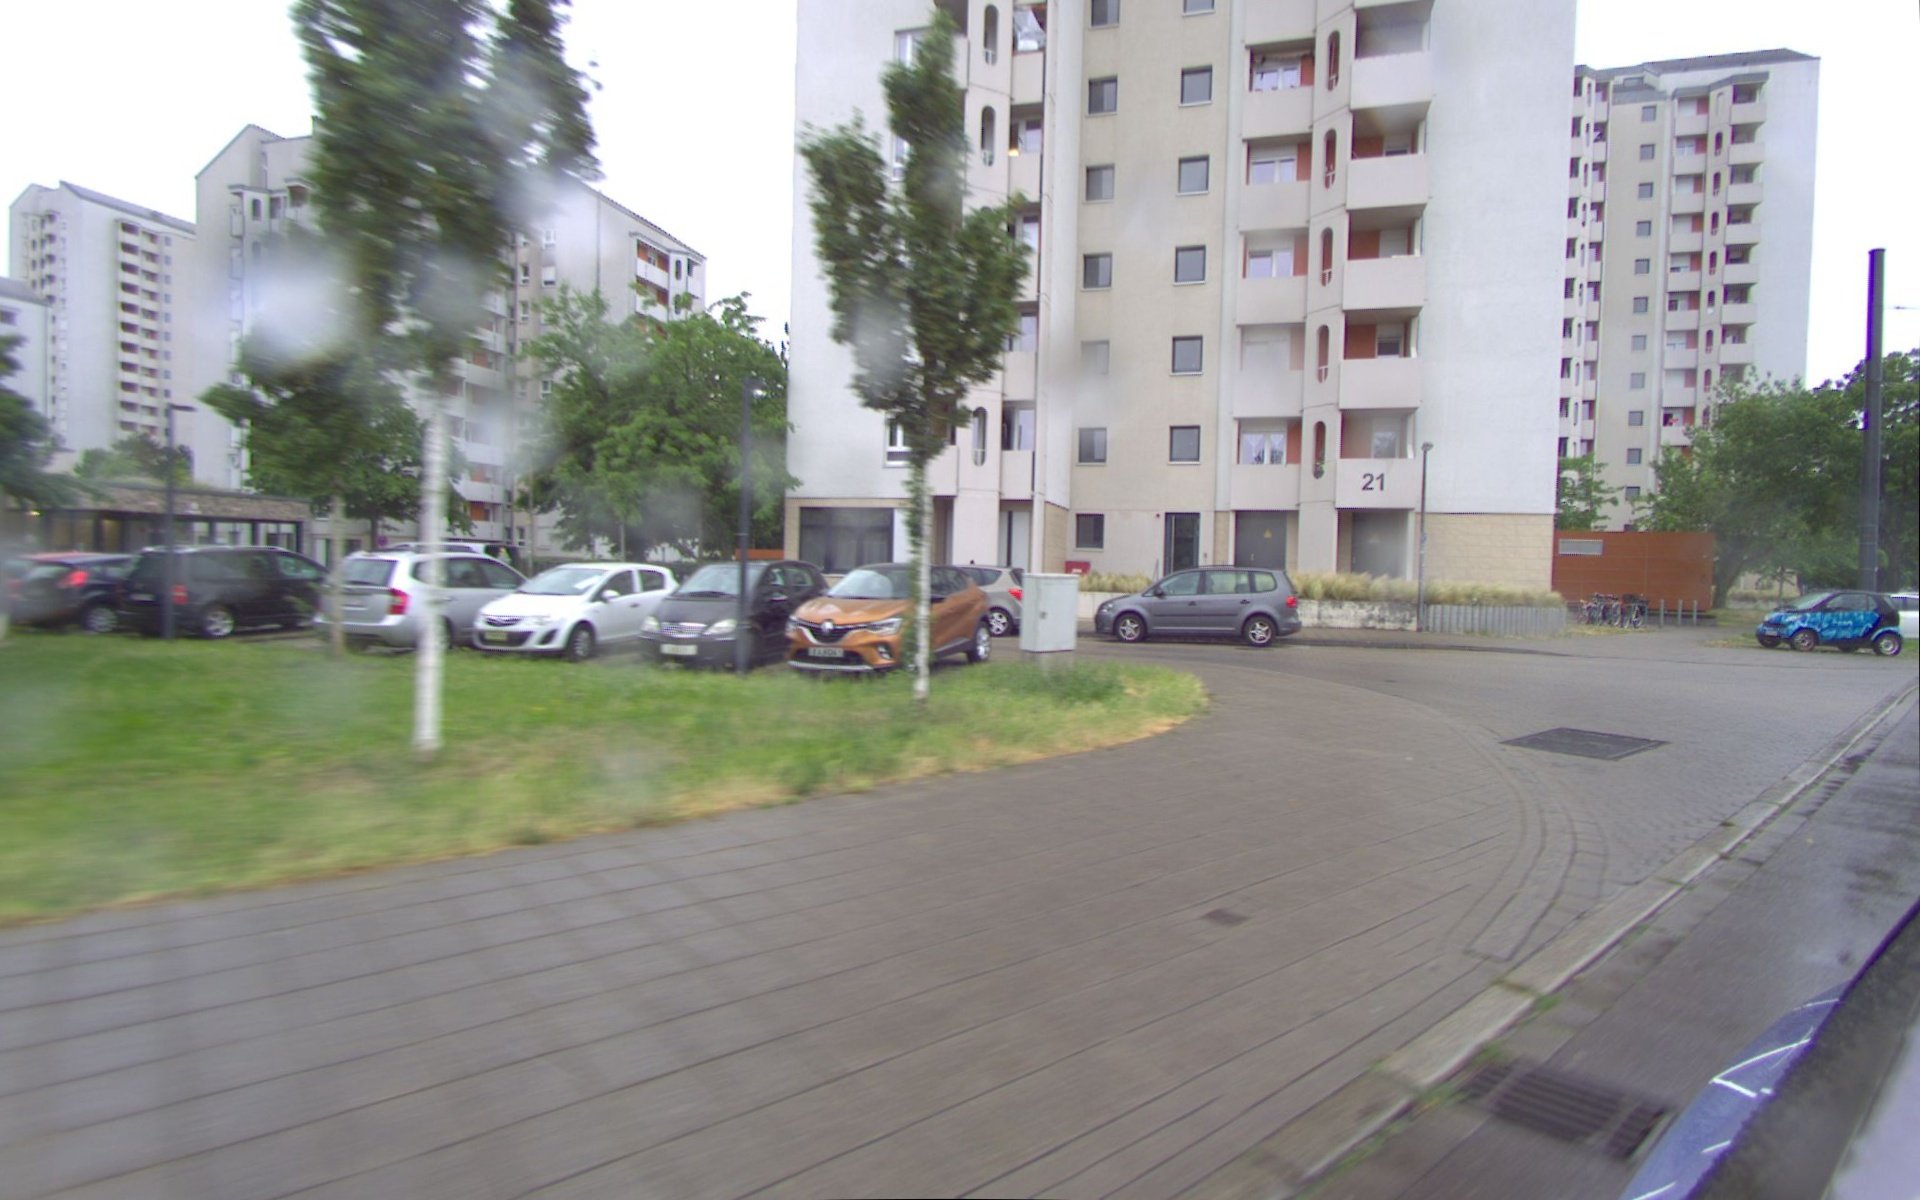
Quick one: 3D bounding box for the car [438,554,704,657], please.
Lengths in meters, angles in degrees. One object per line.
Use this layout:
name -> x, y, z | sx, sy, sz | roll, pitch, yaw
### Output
car -> -6.190, 0.007, 16.621 | 1.976, 1.459, 3.974 | 1, 2, 21

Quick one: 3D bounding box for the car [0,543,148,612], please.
car -> -20.727, -0.505, 22.316 | 1.974, 1.459, 3.976 | 1, 2, 19

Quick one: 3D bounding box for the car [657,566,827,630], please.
car -> -5.361, -0.067, 24.977 | 3.748, 1.493, 1.804 | 1, 0, 19

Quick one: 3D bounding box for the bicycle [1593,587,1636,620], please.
bicycle -> 21.033, 0.096, 32.509 | 2.023, 1.018, 0.662 | -2, 2, -42

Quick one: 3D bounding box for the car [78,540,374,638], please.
car -> -13.730, -0.224, 19.311 | 1.941, 1.629, 4.343 | 1, 1, 15

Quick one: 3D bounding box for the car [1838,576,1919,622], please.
car -> 38.811, 0.039, 41.015 | 4.391, 1.692, 1.808 | 4, 3, 11

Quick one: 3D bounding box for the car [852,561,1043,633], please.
car -> -0.270, -0.083, 23.368 | 4.060, 1.553, 1.804 | 1, 0, 19

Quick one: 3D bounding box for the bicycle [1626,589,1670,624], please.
bicycle -> 21.604, 0.189, 31.767 | 2.023, 1.018, 0.662 | -2, 2, -42

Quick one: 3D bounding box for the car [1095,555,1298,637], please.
car -> 5.064, -0.109, 21.590 | 4.060, 1.637, 1.804 | 1, 0, 19

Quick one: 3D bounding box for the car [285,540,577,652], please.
car -> -8.631, -0.096, 17.004 | 1.941, 1.606, 4.343 | 1, 1, 15

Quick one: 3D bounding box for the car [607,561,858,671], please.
car -> -3.342, 0.145, 15.724 | 1.976, 1.459, 3.974 | 1, 2, 21

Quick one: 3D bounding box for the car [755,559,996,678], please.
car -> -1.039, 0.158, 14.589 | 1.976, 1.459, 3.974 | 1, 2, 21

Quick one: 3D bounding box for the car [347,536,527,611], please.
car -> -14.354, -0.707, 27.830 | 4.219, 1.942, 1.984 | 1, 0, 17

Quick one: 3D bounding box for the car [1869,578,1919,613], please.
car -> 43.792, -0.084, 45.174 | 4.398, 1.445, 1.677 | 5, 3, 15

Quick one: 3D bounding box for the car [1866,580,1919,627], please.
car -> 37.751, 0.262, 38.778 | 4.122, 1.692, 1.679 | 4, 3, 12

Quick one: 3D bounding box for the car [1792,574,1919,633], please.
car -> 28.451, 0.143, 31.001 | 4.117, 1.566, 1.761 | 4, 3, 9

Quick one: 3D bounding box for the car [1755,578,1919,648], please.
car -> 21.443, 0.282, 24.821 | 2.523, 1.567, 1.600 | 2, 2, 9

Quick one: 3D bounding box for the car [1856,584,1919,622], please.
car -> 41.046, 0.233, 42.726 | 4.396, 1.427, 1.761 | 5, 3, 14
